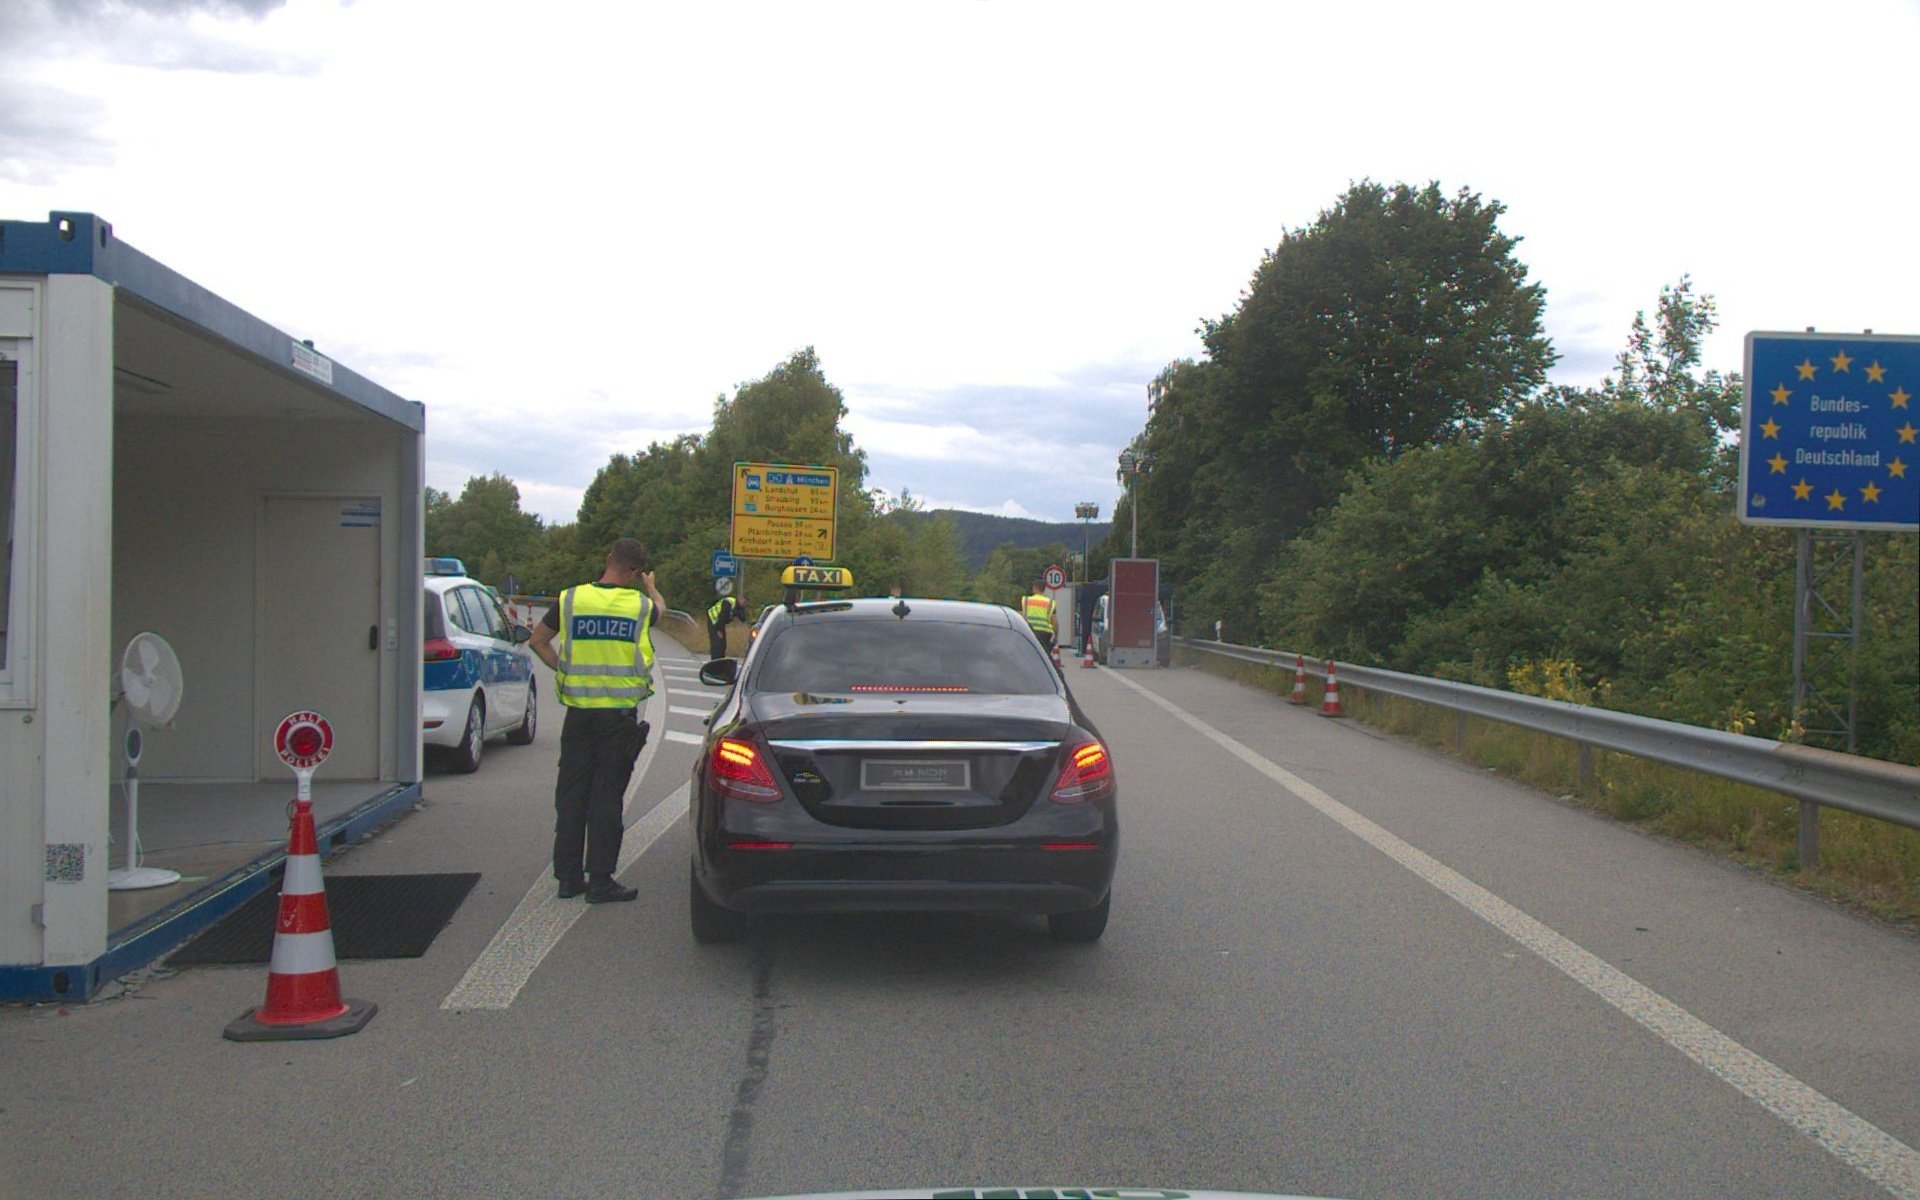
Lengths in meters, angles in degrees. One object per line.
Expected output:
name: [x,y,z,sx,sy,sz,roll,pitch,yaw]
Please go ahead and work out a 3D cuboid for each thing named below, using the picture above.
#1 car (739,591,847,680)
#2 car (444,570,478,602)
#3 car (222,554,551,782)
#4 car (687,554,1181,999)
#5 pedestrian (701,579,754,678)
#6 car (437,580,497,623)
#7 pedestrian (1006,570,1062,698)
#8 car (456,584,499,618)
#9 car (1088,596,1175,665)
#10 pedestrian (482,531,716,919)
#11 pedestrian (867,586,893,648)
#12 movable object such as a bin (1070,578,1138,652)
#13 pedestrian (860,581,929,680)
car: [-3.034,0.605,30.722,1.818,1.524,4.253,1,0,-4]
car: [-36.319,-0.983,120.293,1.831,2.261,4.225,1,0,-24]
car: [-4.976,0.534,14.949,1.832,1.774,4.004,1,0,-5]
car: [-0.284,0.645,8.302,1.819,1.623,4.370,1,0,-5]
pedestrian: [-4.309,0.512,30.695,0.893,1.800,0.911,1,0,-4]
car: [-17.957,0.048,60.369,1.824,1.524,4.242,1,0,-14]
pedestrian: [1.110,0.500,24.558,0.795,1.862,0.810,0,0,5]
car: [-22.127,0.048,75.871,1.825,1.524,4.238,1,0,-16]
car: [4.688,0.793,45.852,1.877,1.707,5.083,2,0,1]
pedestrian: [-1.741,0.565,8.011,0.747,1.748,0.815,0,0,36]
pedestrian: [-2.613,0.560,54.086,0.650,1.995,0.760,0,0,15]
movable object such as a bin: [4.718,0.479,54.696,1.952,2.320,4.168,1,0,1]
pedestrian: [-1.182,0.533,29.664,0.900,1.727,0.903,1,0,-32]
